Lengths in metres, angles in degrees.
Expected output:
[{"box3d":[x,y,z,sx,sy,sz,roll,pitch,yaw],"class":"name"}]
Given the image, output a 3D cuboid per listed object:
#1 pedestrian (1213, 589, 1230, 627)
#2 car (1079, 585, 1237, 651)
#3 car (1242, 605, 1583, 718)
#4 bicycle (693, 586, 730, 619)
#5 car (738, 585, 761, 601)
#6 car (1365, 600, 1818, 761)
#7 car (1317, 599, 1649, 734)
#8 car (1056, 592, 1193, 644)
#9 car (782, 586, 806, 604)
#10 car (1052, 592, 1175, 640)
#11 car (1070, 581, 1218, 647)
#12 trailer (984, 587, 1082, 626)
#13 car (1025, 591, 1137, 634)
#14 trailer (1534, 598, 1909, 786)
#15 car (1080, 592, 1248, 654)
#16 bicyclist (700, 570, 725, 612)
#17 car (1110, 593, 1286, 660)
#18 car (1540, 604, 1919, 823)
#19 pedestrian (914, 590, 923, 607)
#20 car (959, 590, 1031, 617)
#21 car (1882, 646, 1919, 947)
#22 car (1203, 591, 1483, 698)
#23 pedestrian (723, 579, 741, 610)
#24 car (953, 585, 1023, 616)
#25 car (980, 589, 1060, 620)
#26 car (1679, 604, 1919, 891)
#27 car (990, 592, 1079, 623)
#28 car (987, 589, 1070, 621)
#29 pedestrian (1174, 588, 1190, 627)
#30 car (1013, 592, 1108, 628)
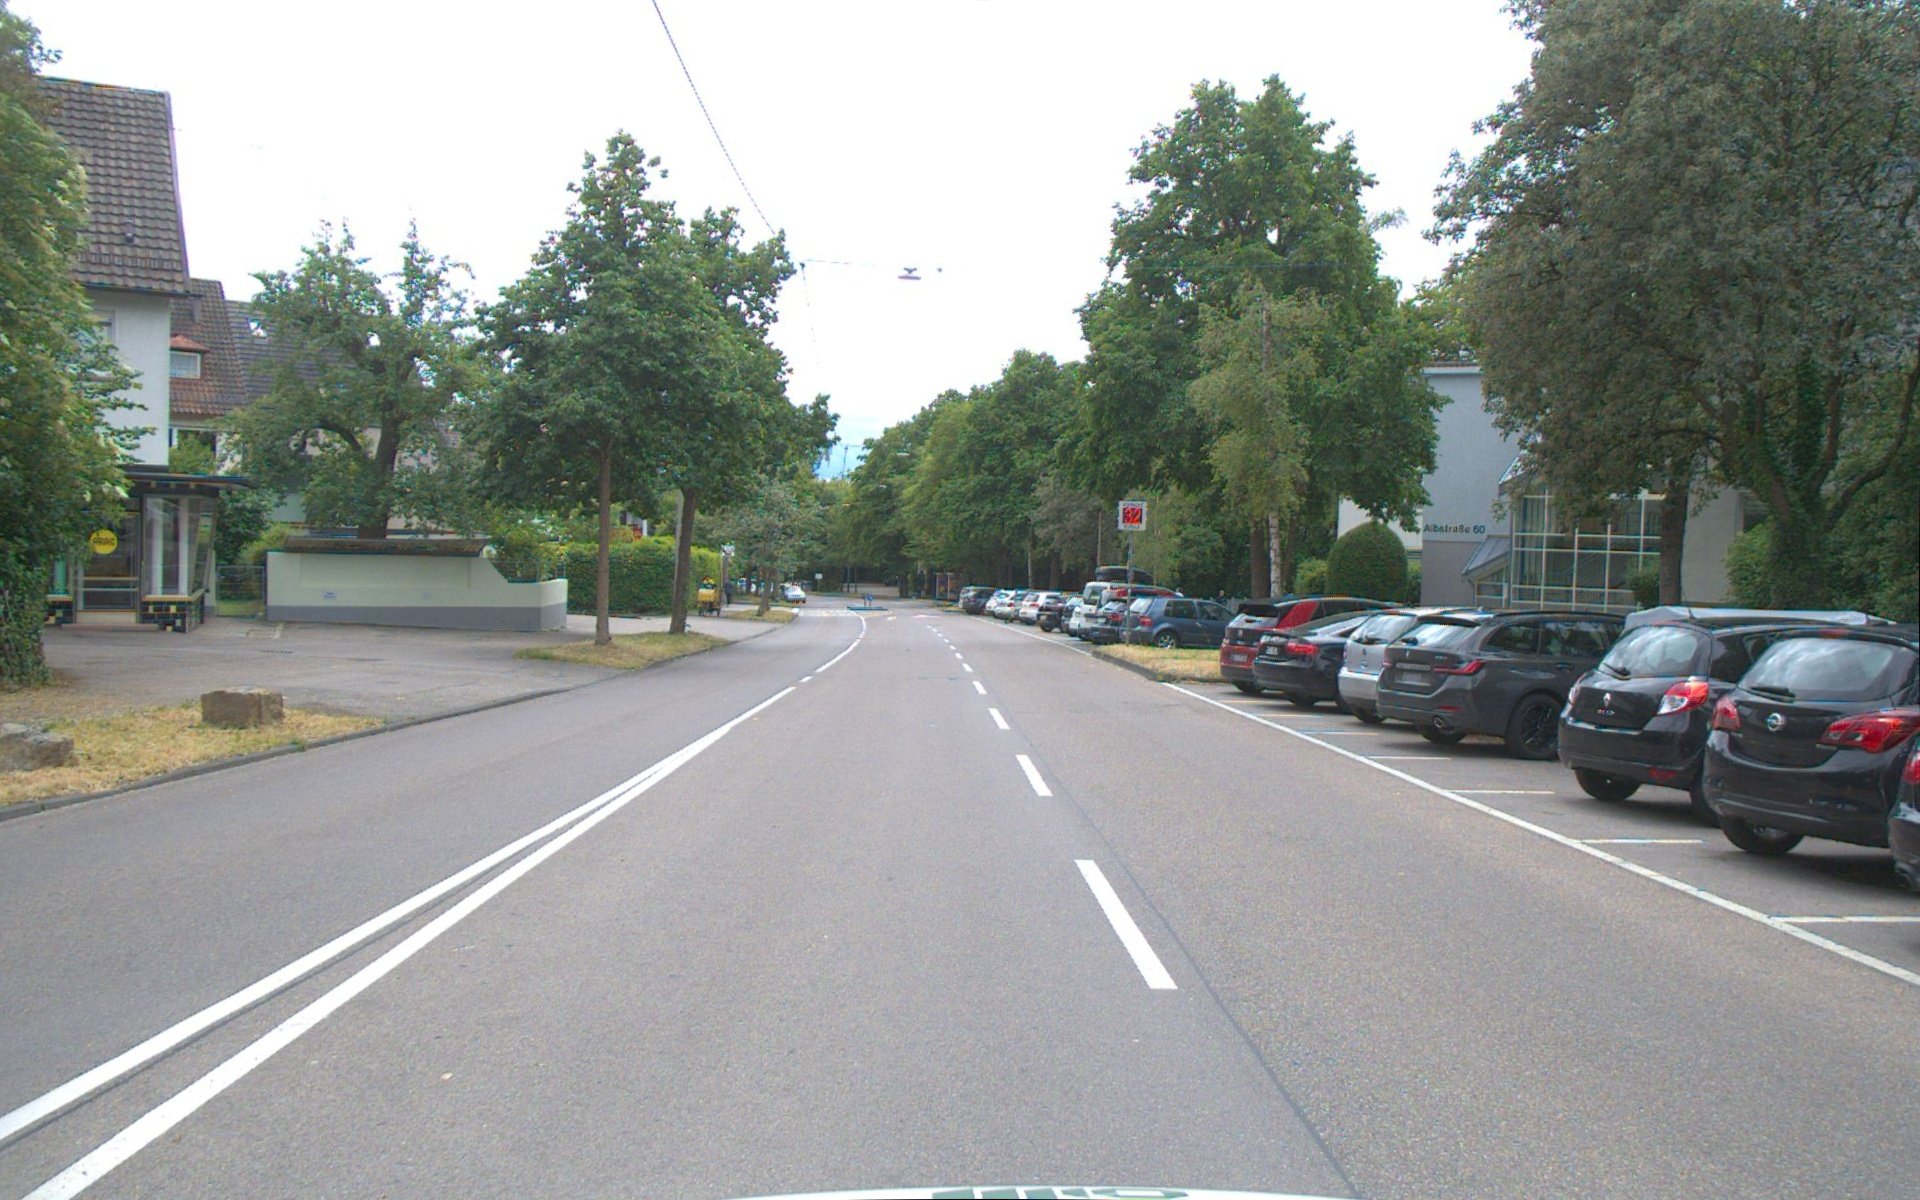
[{"box3d":[11.468,0.339,72.468,0.636,1.631,0.744,1,0,4],"class":"pedestrian"},{"box3d":[5.511,0.502,46.180,3.934,1.648,1.876,3,0,-18],"class":"car"},{"box3d":[6.208,0.835,22.810,4.241,1.364,1.727,2,0,-15],"class":"car"},{"box3d":[-10.471,0.093,69.702,0.827,1.288,2.654,2,1,7],"class":"bicycle"},{"box3d":[-21.163,-0.692,166.502,1.836,1.496,3.985,1,0,-14],"class":"car"},{"box3d":[6.568,0.831,17.277,4.273,1.470,1.627,2,1,-16],"class":"car"},{"box3d":[6.375,0.805,20.245,3.553,1.470,1.627,2,0,-17],"class":"car"},{"box3d":[5.252,0.566,52.818,3.903,1.474,1.909,3,0,-17],"class":"car"},{"box3d":[-13.903,-0.436,138.469,1.832,1.496,3.993,1,0,-8],"class":"car"},{"box3d":[5.353,0.550,57.665,3.829,1.474,1.833,2,0,-21],"class":"car"},{"box3d":[5.475,0.419,49.105,4.039,1.785,1.771,2,0,-28],"class":"car"},{"box3d":[3.346,0.317,75.926,4.094,1.600,1.702,2,0,-21],"class":"trailer"},{"box3d":[4.582,0.476,62.568,3.835,1.474,1.830,2,0,-25],"class":"car"},{"box3d":[6.986,0.832,15.235,2.936,1.569,1.298,2,1,-14],"class":"trailer"},{"box3d":[5.334,0.605,43.286,3.967,1.430,1.747,3,0,-20],"class":"car"},{"box3d":[-10.450,-0.386,69.766,0.827,1.727,0.714,2,1,6],"class":"bicyclist"},{"box3d":[5.845,0.648,40.712,3.901,1.430,1.749,3,0,-16],"class":"car"},{"box3d":[6.620,0.853,12.710,3.774,1.480,1.629,2,0,-13],"class":"car"},{"box3d":[-3.856,-0.135,154.396,0.725,1.597,0.652,1,0,9],"class":"pedestrian"},{"box3d":[2.034,0.192,96.940,3.829,1.454,1.733,2,0,-21],"class":"car"},{"box3d":[6.388,0.959,7.297,3.964,1.350,1.555,2,0,-10],"class":"car"},{"box3d":[5.954,0.690,25.706,4.017,1.542,1.721,1,0,-24],"class":"car"},{"box3d":[-12.964,-0.324,94.098,0.955,1.761,0.848,1,0,-5],"class":"pedestrian"},{"box3d":[1.677,0.019,99.718,3.829,1.697,1.733,2,0,-21],"class":"car"},{"box3d":[3.144,0.223,86.972,3.829,1.454,1.733,2,0,-21],"class":"car"},{"box3d":[6.613,0.860,10.206,3.849,1.512,1.611,2,0,-17],"class":"car"},{"box3d":[3.536,0.358,78.620,3.836,1.332,1.729,2,0,-26],"class":"car"},{"box3d":[3.490,0.260,84.406,3.829,1.454,1.733,2,0,-21],"class":"car"},{"box3d":[9.717,0.337,72.420,0.636,1.700,0.744,1,0,4],"class":"pedestrian"},{"box3d":[4.475,0.438,73.783,3.831,1.474,1.732,2,0,-23],"class":"car"}]
